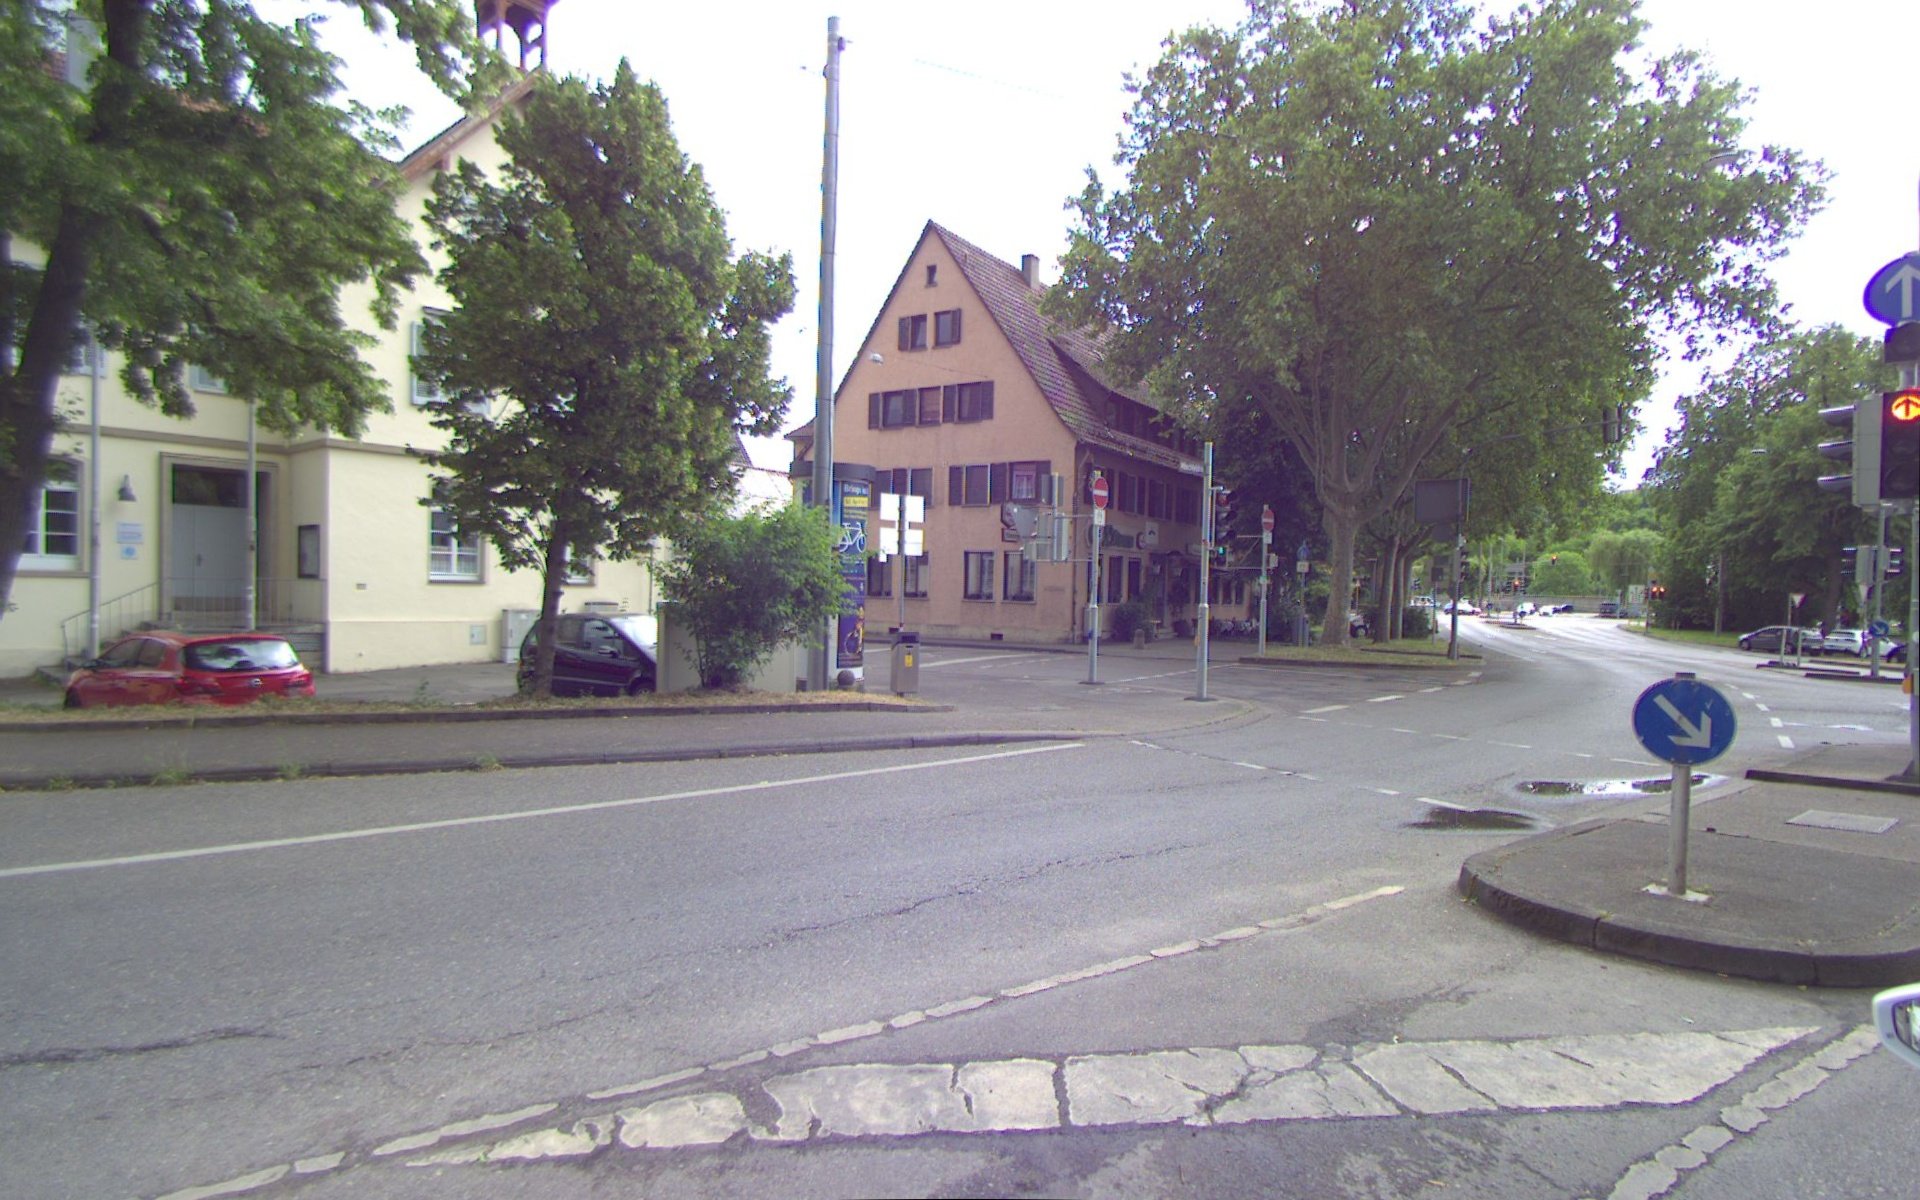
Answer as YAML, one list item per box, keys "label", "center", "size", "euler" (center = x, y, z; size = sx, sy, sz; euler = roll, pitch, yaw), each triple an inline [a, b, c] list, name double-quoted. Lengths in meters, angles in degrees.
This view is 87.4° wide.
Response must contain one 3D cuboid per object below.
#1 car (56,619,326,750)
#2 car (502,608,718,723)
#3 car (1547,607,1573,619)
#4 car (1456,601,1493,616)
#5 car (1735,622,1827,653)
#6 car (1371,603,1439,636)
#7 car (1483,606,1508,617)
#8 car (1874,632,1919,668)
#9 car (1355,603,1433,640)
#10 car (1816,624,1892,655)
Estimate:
- label: "car"
  center: [-10.173, 1.013, 13.249]
  size: [3.492, 1.397, 1.605]
  euler: [2, 0, 30]
- label: "car"
  center: [-5.762, 1.006, 16.597]
  size: [3.035, 1.654, 1.607]
  euler: [2, 0, 22]
- label: "car"
  center: [108.231, 2.322, 181.094]
  size: [3.928, 2.040, 1.996]
  euler: [2, 0, 30]
- label: "car"
  center: [67.311, 1.121, 131.476]
  size: [3.938, 1.806, 1.992]
  euler: [2, 0, 39]
- label: "car"
  center: [43.865, 1.969, 53.764]
  size: [1.559, 1.484, 3.543]
  euler: [2, 0, -17]
- label: "car"
  center: [25.471, 1.087, 57.471]
  size: [3.387, 1.765, 1.570]
  euler: [2, 0, 28]
- label: "car"
  center: [100.717, 2.133, 188.939]
  size: [3.928, 2.040, 1.996]
  euler: [2, 0, 30]
- label: "car"
  center: [39.571, 2.078, 40.948]
  size: [1.442, 1.412, 3.596]
  euler: [2, 0, 3]
- label: "car"
  center: [21.410, 1.049, 49.587]
  size: [3.387, 1.663, 1.570]
  euler: [2, 0, 28]
- label: "car"
  center: [47.304, 2.083, 53.164]
  size: [3.342, 1.484, 1.543]
  euler: [2, 0, -19]
